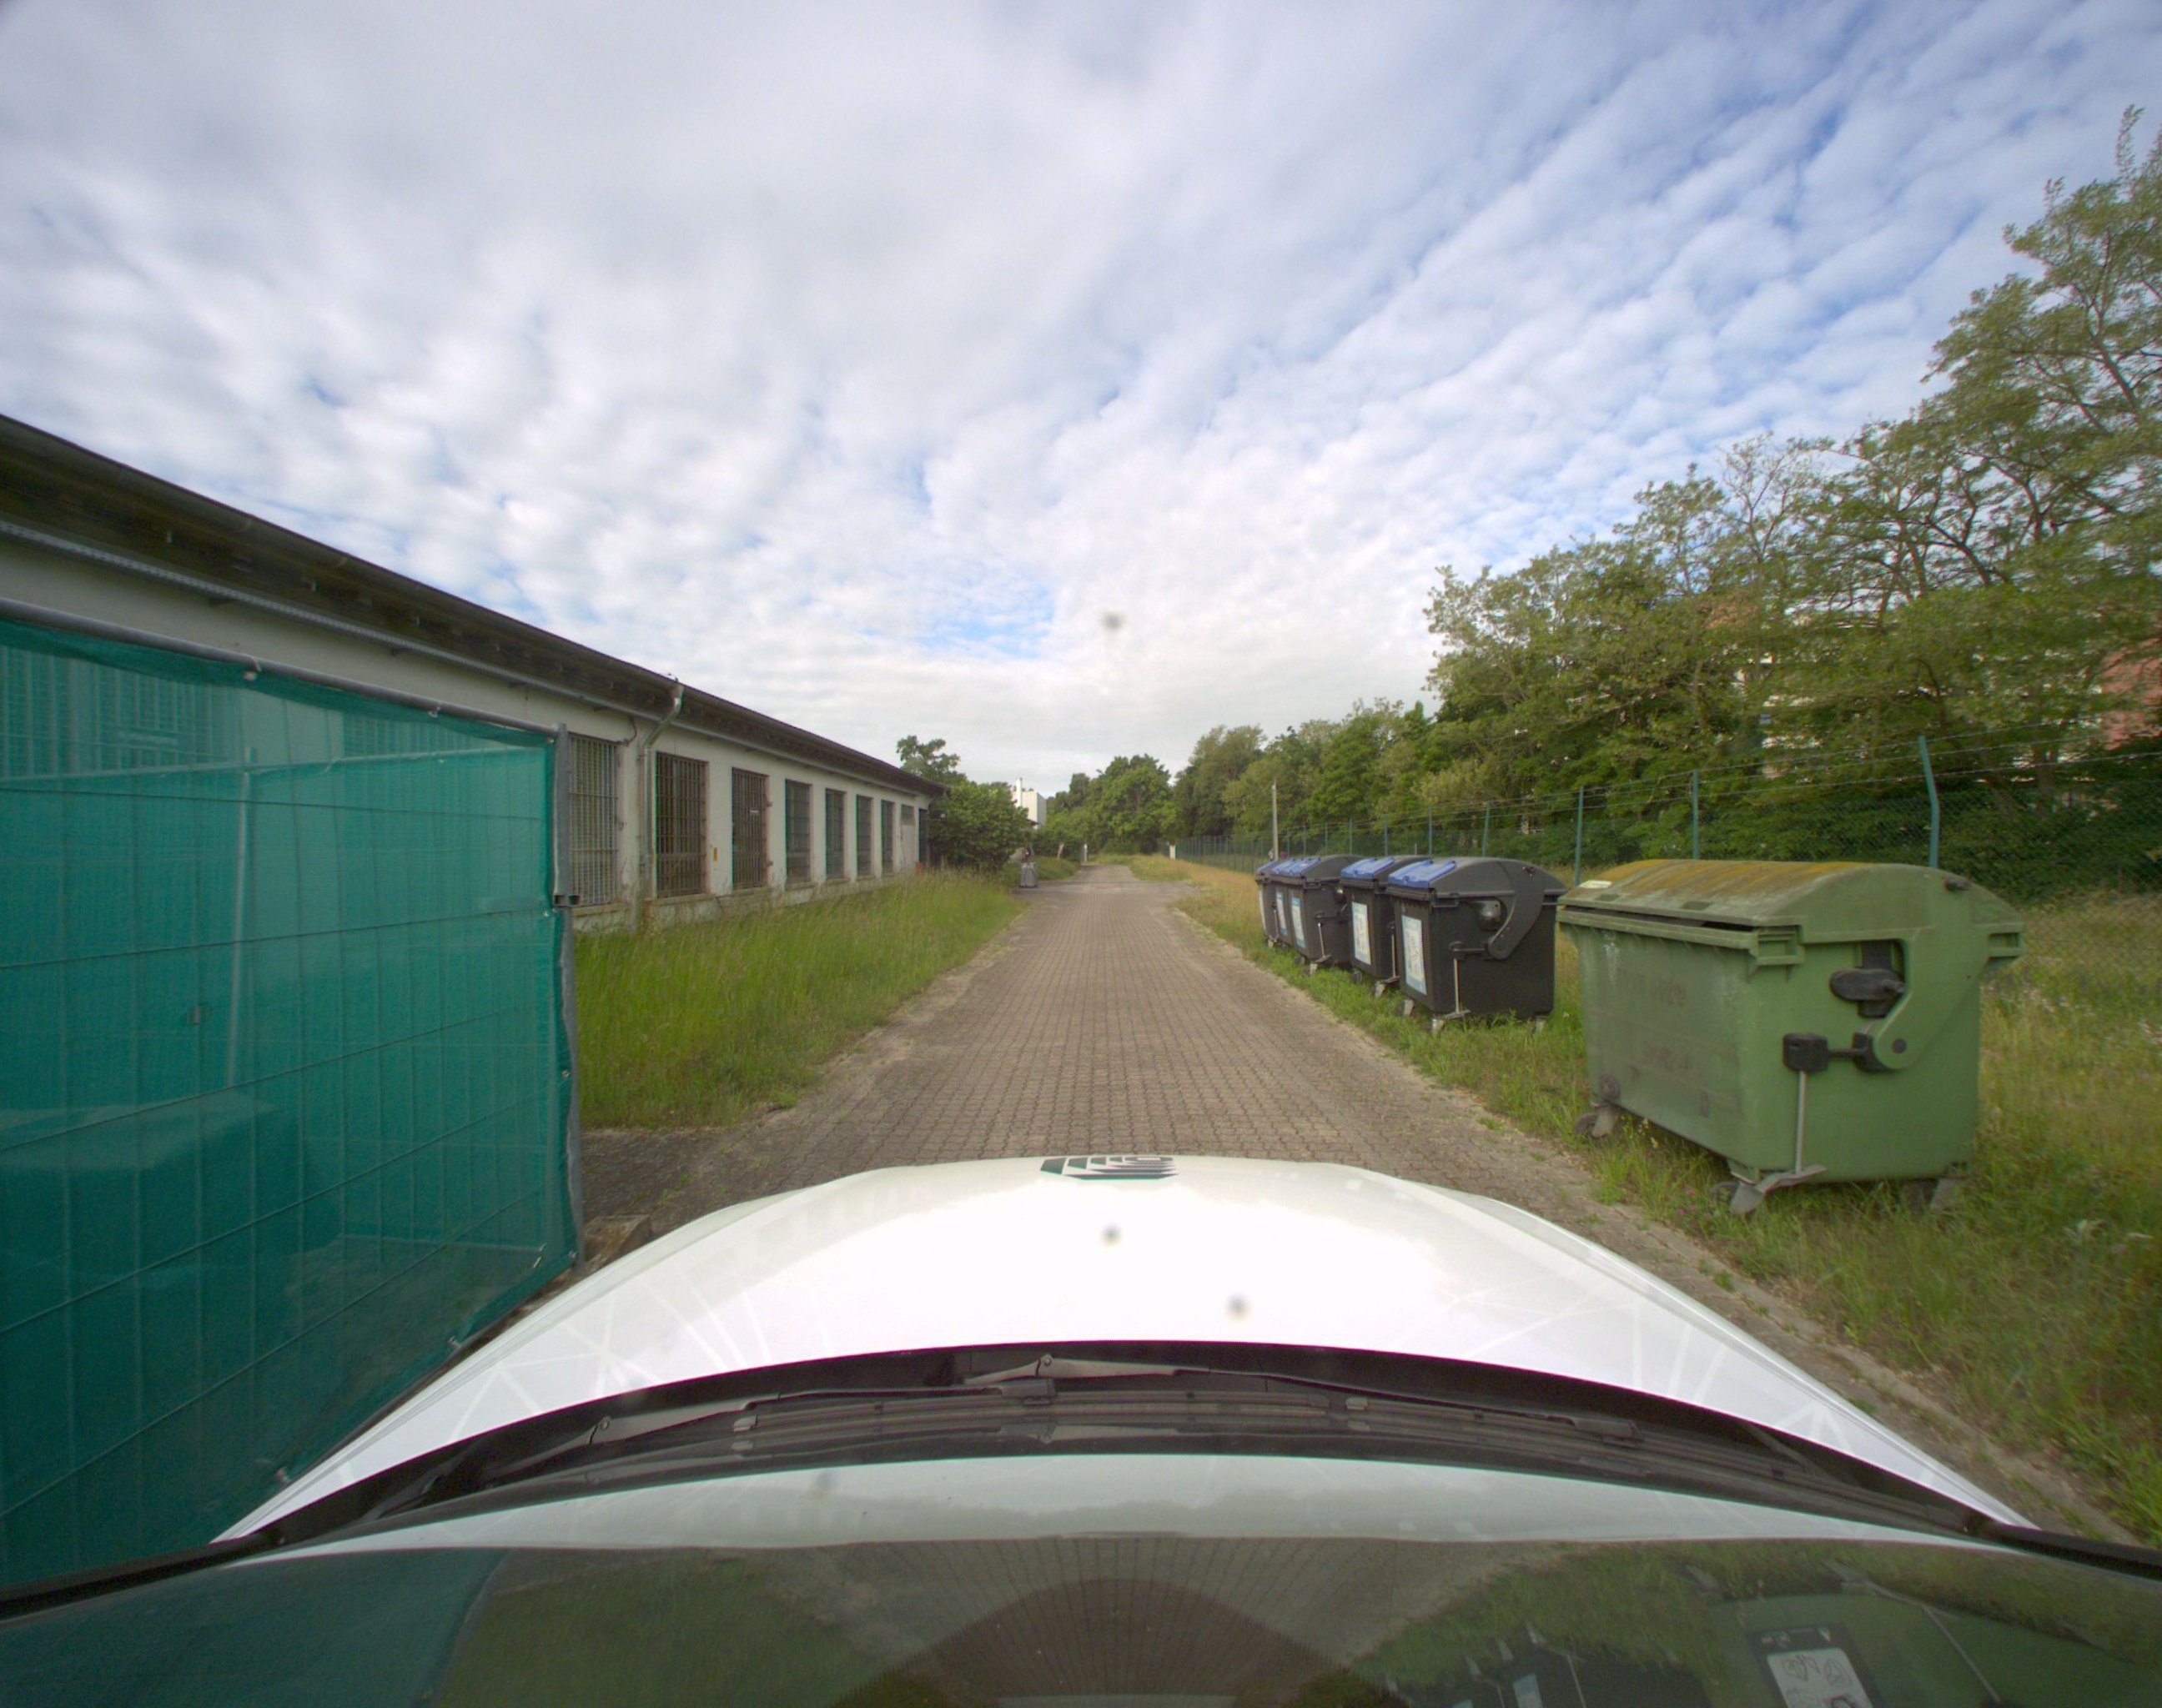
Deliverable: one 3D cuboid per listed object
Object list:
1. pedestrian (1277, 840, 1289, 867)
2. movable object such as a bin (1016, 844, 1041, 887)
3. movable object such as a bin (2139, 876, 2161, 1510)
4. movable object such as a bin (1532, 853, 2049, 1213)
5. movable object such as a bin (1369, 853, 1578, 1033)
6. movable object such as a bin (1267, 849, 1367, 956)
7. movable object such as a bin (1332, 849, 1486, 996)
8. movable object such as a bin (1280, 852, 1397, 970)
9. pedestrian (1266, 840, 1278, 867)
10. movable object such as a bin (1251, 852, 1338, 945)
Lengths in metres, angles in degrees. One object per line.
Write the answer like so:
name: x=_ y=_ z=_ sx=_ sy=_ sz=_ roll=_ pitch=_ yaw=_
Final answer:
pedestrian: x=15.299 y=-0.052 z=61.682 sx=0.757 sy=2.013 sz=0.664 roll=-1 pitch=0 yaw=0
movable object such as a bin: x=-2.461 y=0.532 z=37.916 sx=0.929 sy=1.982 sz=0.856 roll=-1 pitch=0 yaw=10
movable object such as a bin: x=2.778 y=0.738 z=1.027 sx=1.115 sy=1.398 sz=1.390 roll=-1 pitch=-1 yaw=12
movable object such as a bin: x=2.962 y=0.654 z=3.654 sx=1.119 sy=1.296 sz=1.380 roll=-1 pitch=-1 yaw=1
movable object such as a bin: x=3.184 y=0.666 z=6.823 sx=1.148 sy=1.325 sz=1.496 roll=-1 pitch=-1 yaw=7
movable object such as a bin: x=3.204 y=0.639 z=11.212 sx=1.117 sy=1.379 sz=1.328 roll=-1 pitch=-1 yaw=7
movable object such as a bin: x=3.311 y=0.651 z=8.402 sx=1.117 sy=1.374 sz=1.496 roll=-1 pitch=-1 yaw=7
movable object such as a bin: x=3.083 y=0.651 z=9.912 sx=1.117 sy=1.321 sz=1.328 roll=-1 pitch=0 yaw=7
pedestrian: x=14.521 y=-0.062 z=61.998 sx=0.757 sy=2.013 sz=0.664 roll=-1 pitch=0 yaw=0
movable object such as a bin: x=3.257 y=0.654 z=12.588 sx=1.117 sy=1.350 sz=1.429 roll=-1 pitch=-1 yaw=7
